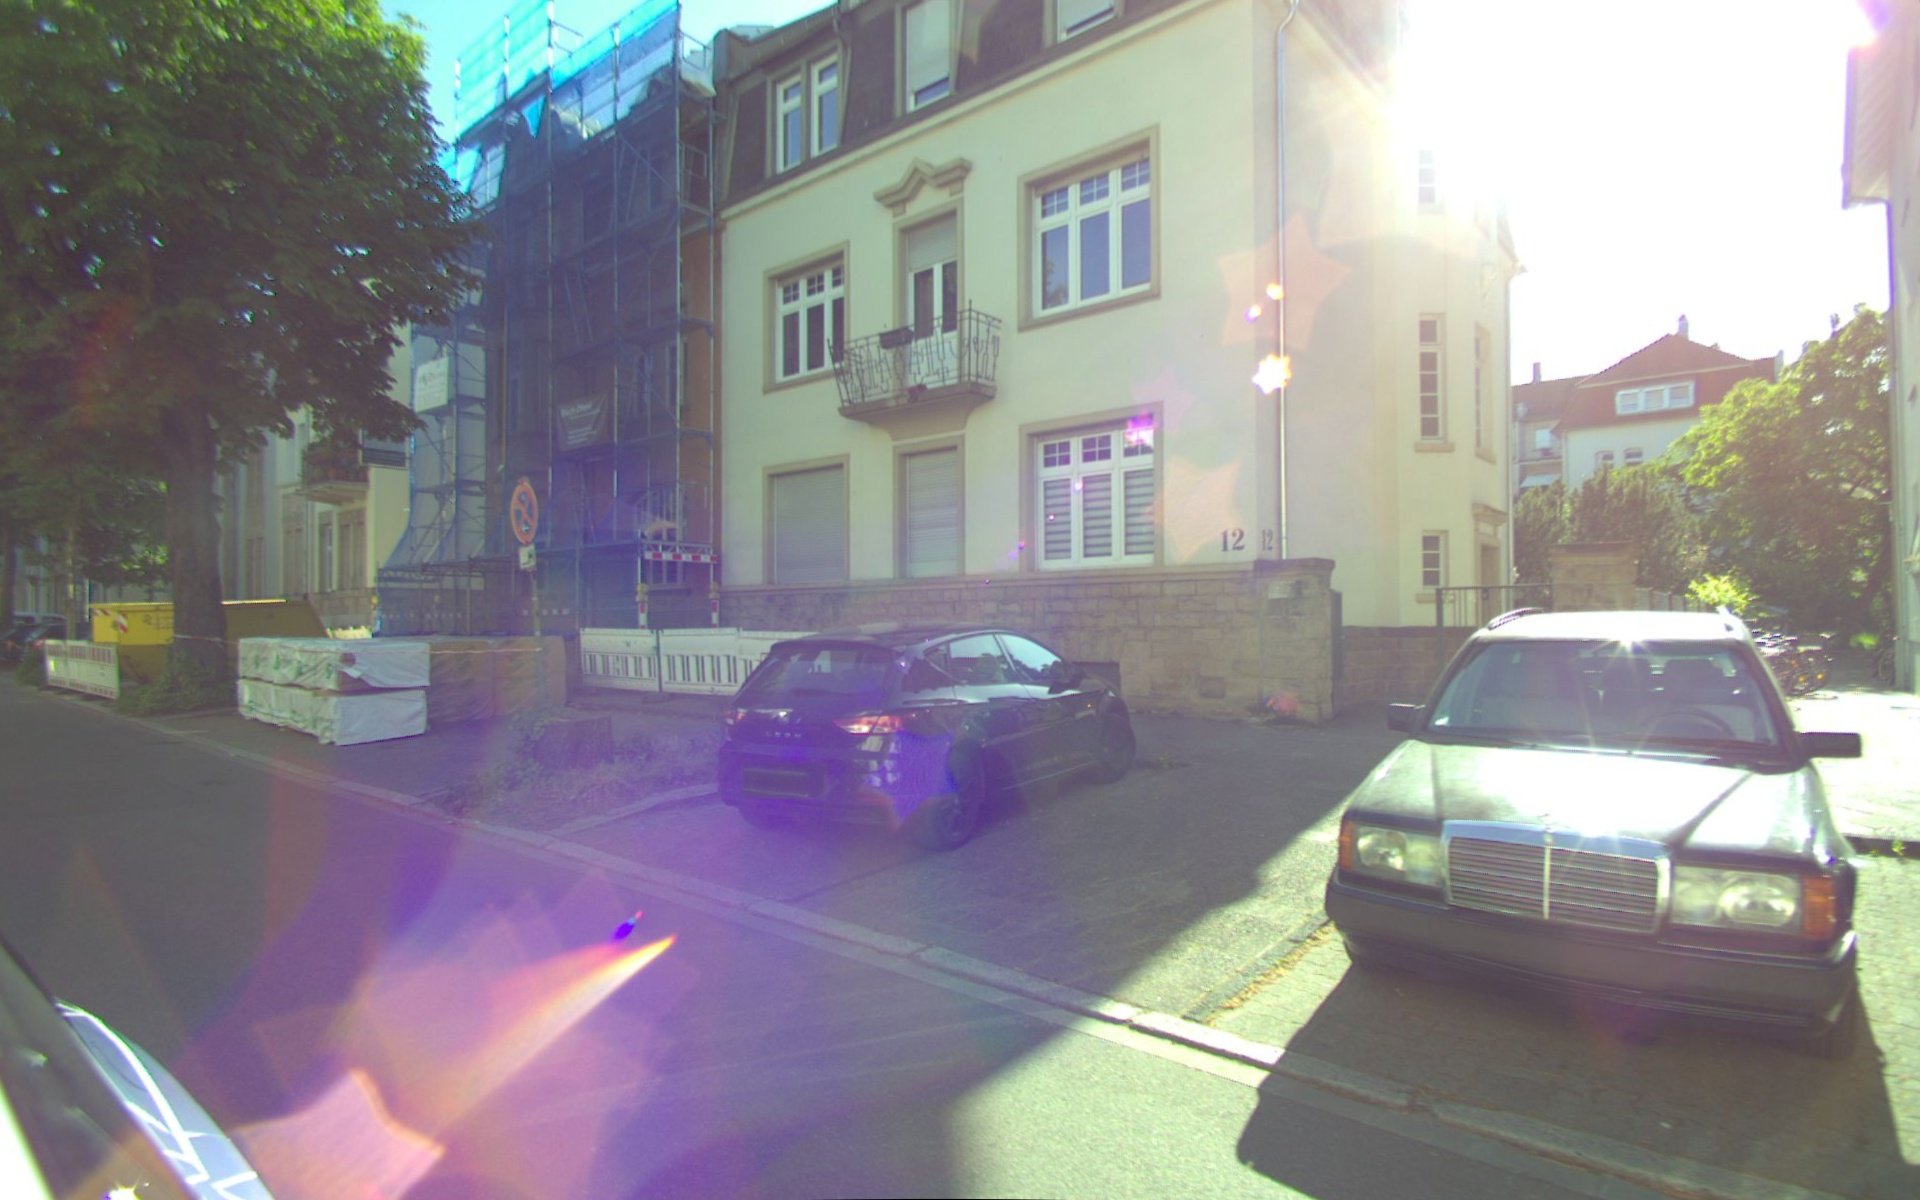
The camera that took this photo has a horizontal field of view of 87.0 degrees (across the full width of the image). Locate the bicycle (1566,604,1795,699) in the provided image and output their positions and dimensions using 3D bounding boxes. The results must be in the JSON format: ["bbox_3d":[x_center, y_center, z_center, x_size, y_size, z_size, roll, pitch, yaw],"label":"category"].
[{"bbox_3d":[11.822,0.825,16.736,3.027,1.468,0.537,-2,-2,41],"label":"bicycle"}]

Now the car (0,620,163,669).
[{"bbox_3d":[-28.386,1.404,32.518,1.709,1.411,4.097,-2,-1,40],"label":"car"}]

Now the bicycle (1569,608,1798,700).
[{"bbox_3d":[12.295,0.893,17.337,3.136,1.476,0.540,-2,-2,41],"label":"bicycle"}]

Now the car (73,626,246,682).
[{"bbox_3d":[-22.223,1.466,28.165,1.695,1.459,3.512,-1,-3,41],"label":"car"}]

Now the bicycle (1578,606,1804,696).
[{"bbox_3d":[12.827,0.866,17.891,3.187,1.476,0.553,-2,-2,41],"label":"bicycle"}]

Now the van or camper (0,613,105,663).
[{"bbox_3d":[-35.023,1.432,38.245,1.808,1.787,3.904,-3,-2,40],"label":"van or camper"}]

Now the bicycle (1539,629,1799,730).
[{"bbox_3d":[9.990,1.074,14.408,2.993,1.309,0.459,-1,-2,41],"label":"bicycle"}]

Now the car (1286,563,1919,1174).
[{"bbox_3d":[3.355,0.677,5.010,1.831,1.619,4.545,-1,1,38],"label":"car"}]

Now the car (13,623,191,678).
[{"bbox_3d":[-24.676,1.430,29.182,1.714,1.476,3.686,-3,-3,41],"label":"car"}]

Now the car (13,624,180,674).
[{"bbox_3d":[-26.579,1.495,31.240,1.645,1.442,3.708,-1,-3,41],"label":"car"}]

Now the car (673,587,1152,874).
[{"bbox_3d":[-0.089,0.718,7.779,1.827,1.525,3.842,-1,1,32],"label":"car"}]

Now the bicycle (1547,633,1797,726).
[{"bbox_3d":[10.399,1.117,14.918,2.958,1.247,0.483,-1,-2,41],"label":"bicycle"}]

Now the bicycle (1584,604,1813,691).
[{"bbox_3d":[13.373,0.840,18.464,3.322,1.476,0.531,-2,-2,41],"label":"bicycle"}]

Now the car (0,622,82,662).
[{"bbox_3d":[-36.916,1.636,39.553,1.720,1.528,3.687,-2,-1,39],"label":"car"}]
